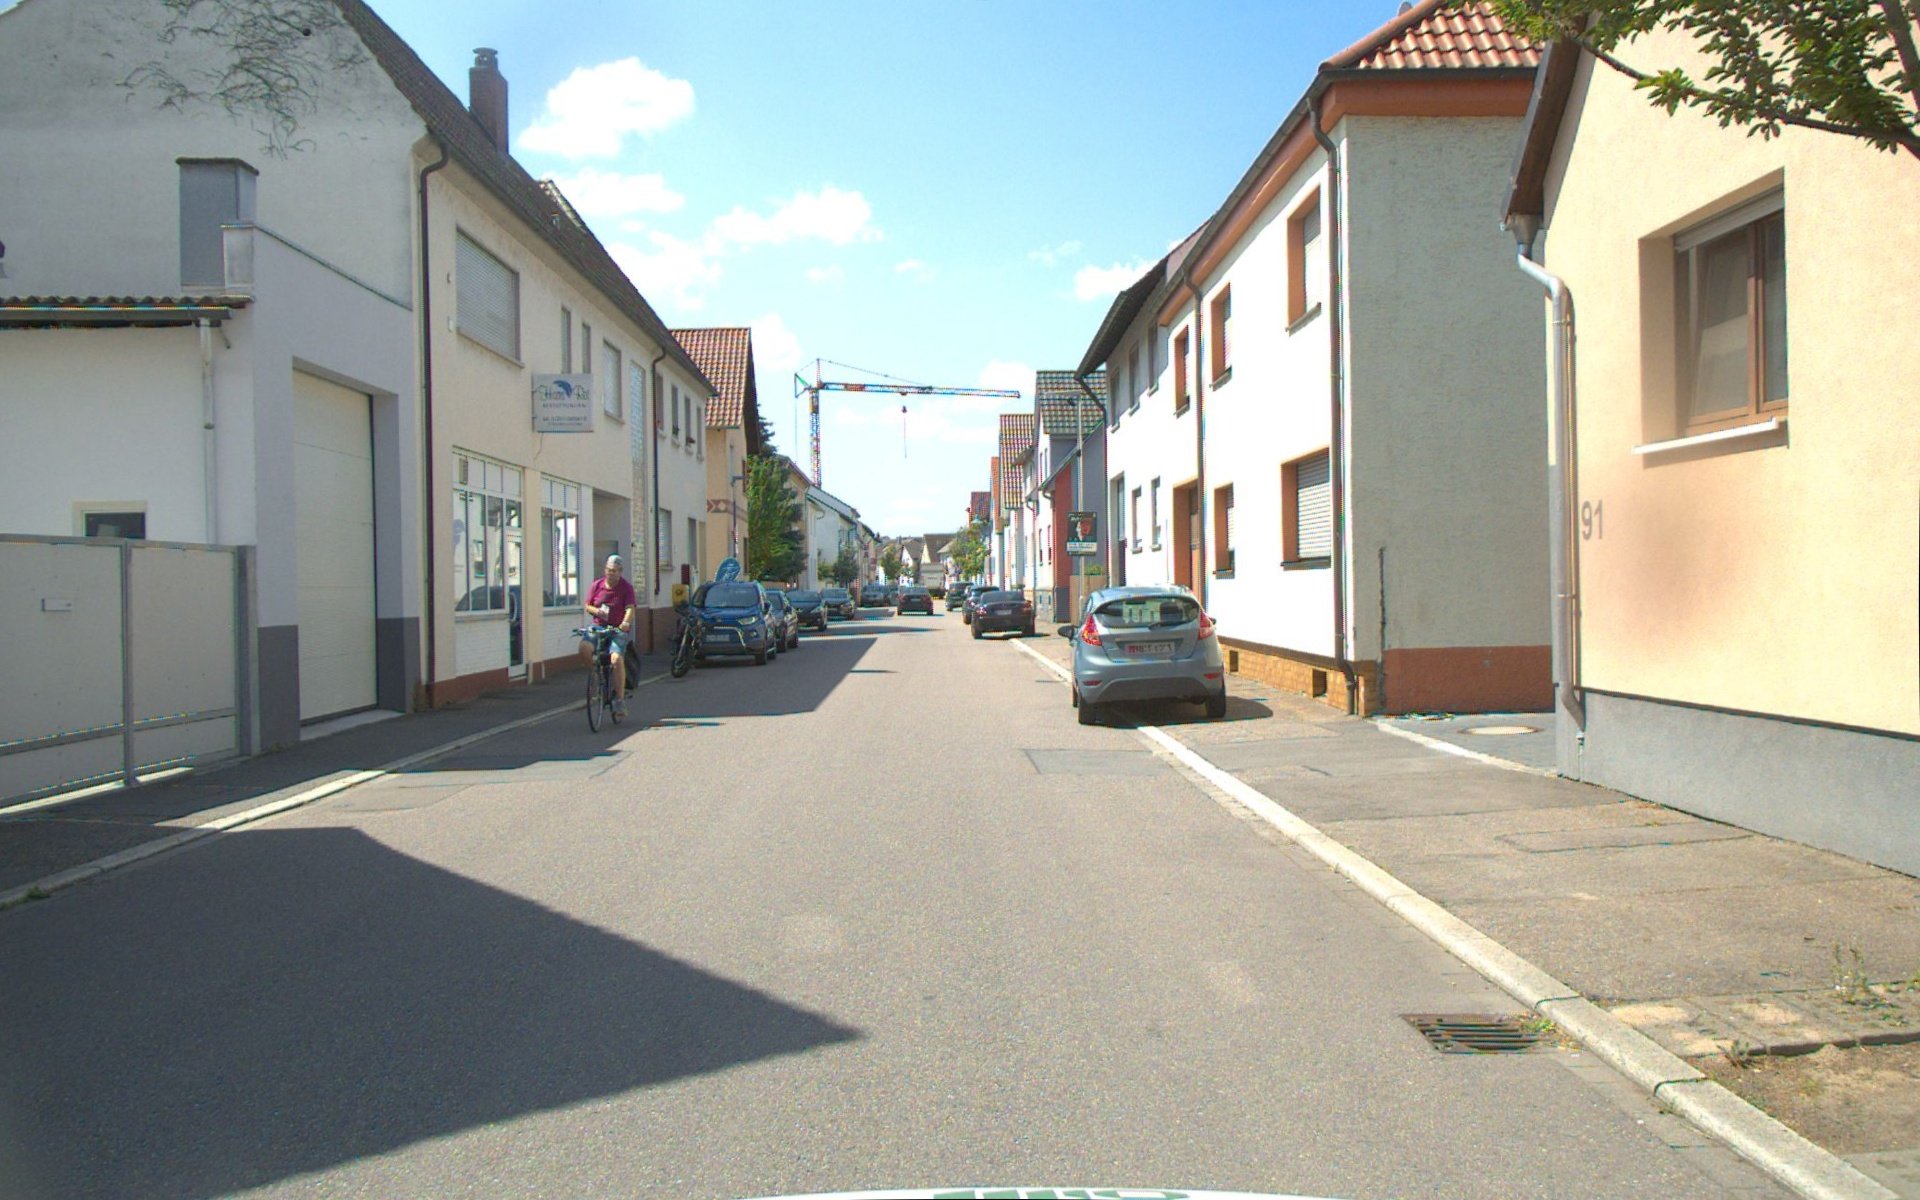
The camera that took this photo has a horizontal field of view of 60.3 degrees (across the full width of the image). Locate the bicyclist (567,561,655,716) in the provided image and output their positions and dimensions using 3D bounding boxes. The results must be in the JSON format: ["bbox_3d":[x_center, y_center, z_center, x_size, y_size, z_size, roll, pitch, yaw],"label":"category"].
[{"bbox_3d":[-3.852,0.406,18.303,0.731,1.665,0.957,0,0,2],"label":"bicyclist"}]

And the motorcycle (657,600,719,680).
[{"bbox_3d":[-4.813,0.688,29.434,0.792,1.335,2.105,-1,1,-2],"label":"motorcycle"}]

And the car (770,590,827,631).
[{"bbox_3d":[-5.637,0.349,58.217,1.726,1.398,4.065,0,0,-2],"label":"car"}]

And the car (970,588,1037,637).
[{"bbox_3d":[1.212,0.324,47.814,1.779,1.298,4.146,-1,1,-1],"label":"car"}]

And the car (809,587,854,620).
[{"bbox_3d":[-6.136,0.130,79.187,1.732,1.485,4.436,-1,0,0],"label":"car"}]

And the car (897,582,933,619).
[{"bbox_3d":[-2.343,0.016,84.822,1.747,1.784,3.998,-2,0,-2],"label":"car"}]

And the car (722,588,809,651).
[{"bbox_3d":[-4.724,0.440,40.701,1.663,1.436,4.389,-1,1,-1],"label":"car"}]

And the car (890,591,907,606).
[{"bbox_3d":[-6.474,-0.154,174.746,1.688,1.583,4.171,0,1,-1],"label":"car"}]

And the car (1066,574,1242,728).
[{"bbox_3d":[2.178,0.519,19.457,1.686,1.507,3.751,-4,0,3],"label":"car"}]

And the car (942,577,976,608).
[{"bbox_3d":[-0.068,-0.424,96.932,1.694,1.747,4.273,-1,0,-3],"label":"car"}]

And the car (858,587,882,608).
[{"bbox_3d":[-6.977,-0.243,128.608,1.723,1.551,4.288,-2,1,-2],"label":"car"}]

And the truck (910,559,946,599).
[{"bbox_3d":[-3.487,-2.169,175.653,3.311,3.932,13.919,-2,0,-3],"label":"truck"}]

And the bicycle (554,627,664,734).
[{"bbox_3d":[-3.846,0.857,18.280,0.727,1.066,1.940,-1,0,2],"label":"bicycle"}]

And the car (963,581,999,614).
[{"bbox_3d":[1.040,-0.141,84.780,1.584,1.521,3.970,-4,1,-1],"label":"car"}]

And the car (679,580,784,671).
[{"bbox_3d":[-4.616,0.466,33.894,1.683,1.668,4.147,-3,1,-3],"label":"car"}]

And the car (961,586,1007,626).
[{"bbox_3d":[0.907,0.208,64.490,1.654,1.447,3.656,-1,0,-1],"label":"car"}]
